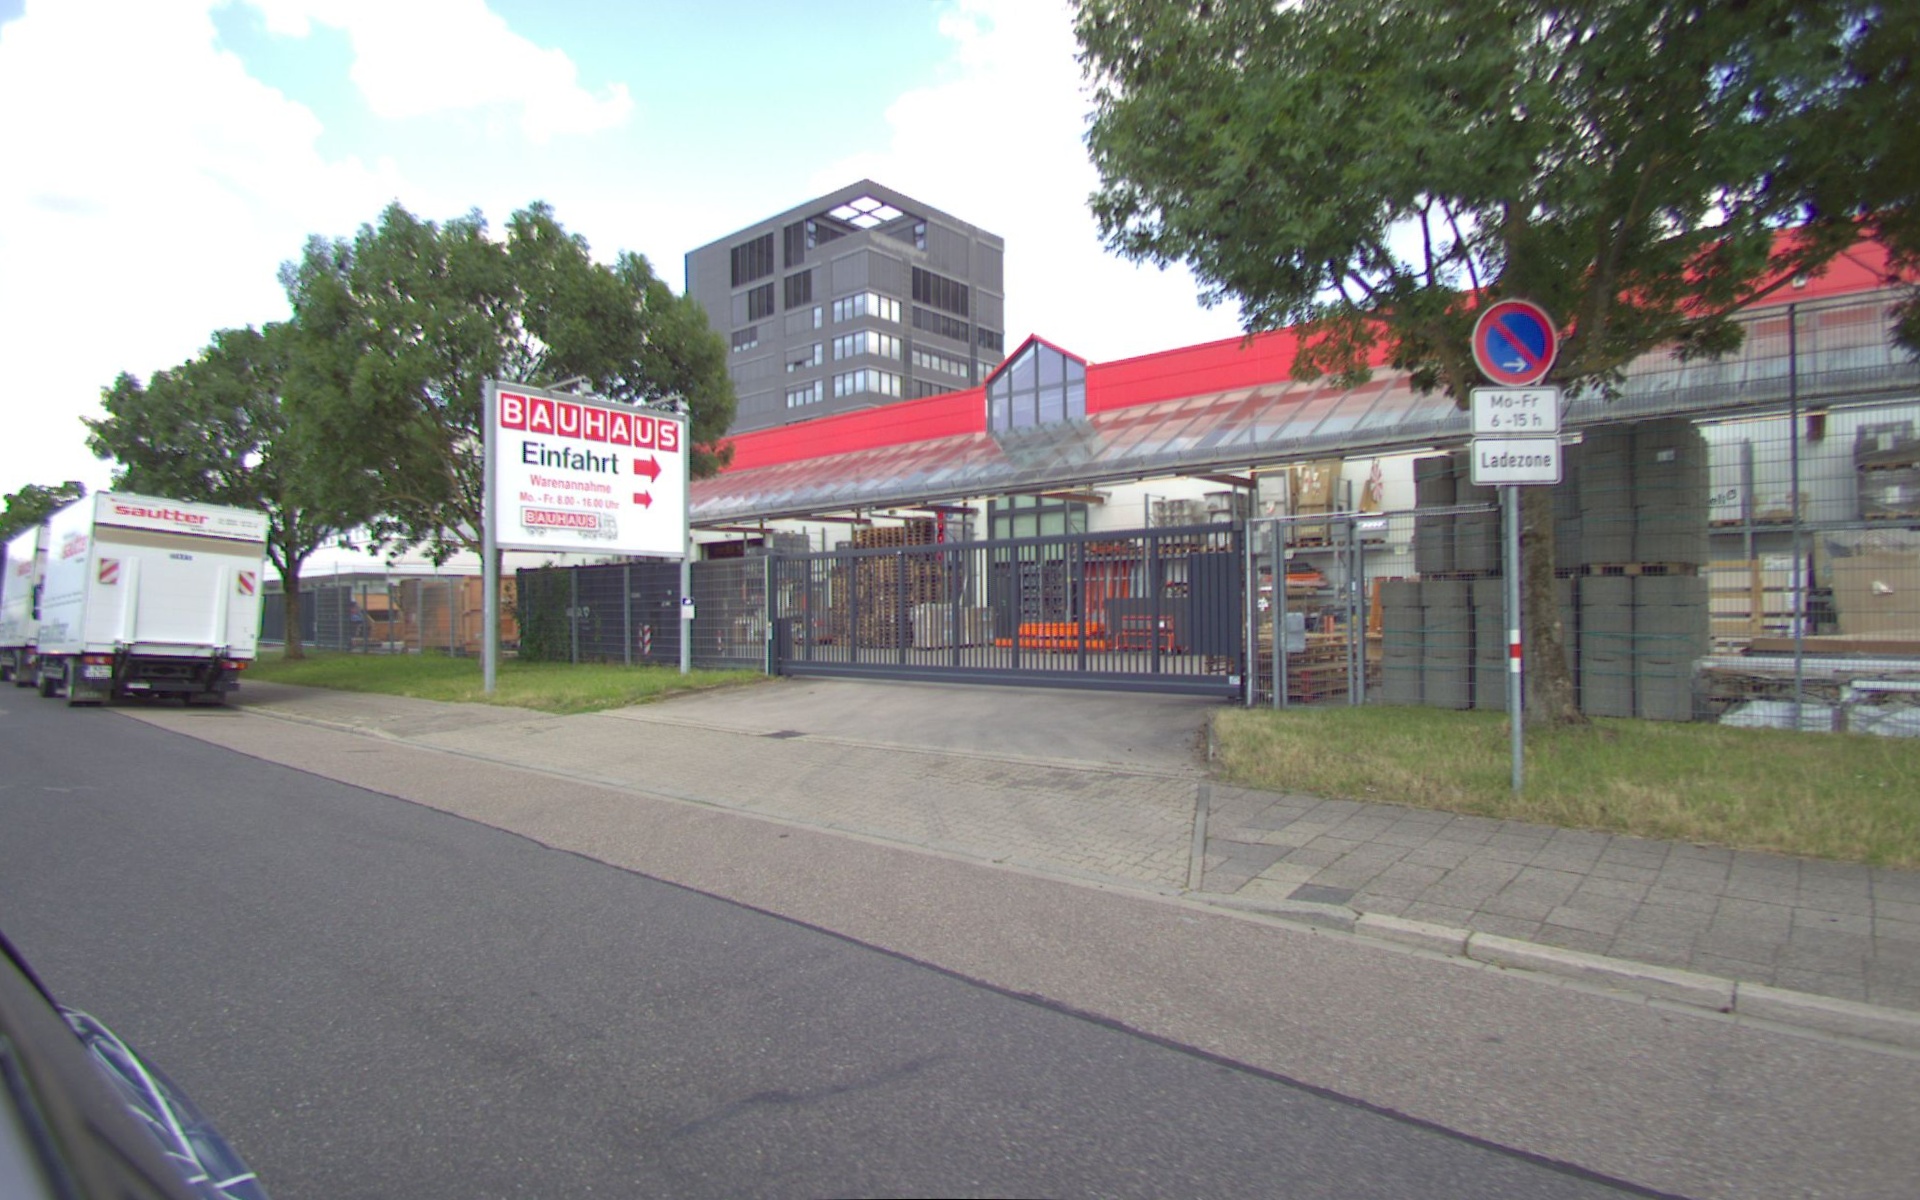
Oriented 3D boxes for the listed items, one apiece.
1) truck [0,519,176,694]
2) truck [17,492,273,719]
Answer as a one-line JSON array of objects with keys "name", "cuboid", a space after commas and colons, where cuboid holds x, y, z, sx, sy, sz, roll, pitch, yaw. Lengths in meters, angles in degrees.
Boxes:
[{"name": "truck", "cuboid": [-22.415, 0.238, 25.614, 7.168, 3.838, 2.719, -2, -3, 41]}, {"name": "truck", "cuboid": [-16.352, 0.142, 20.099, 7.169, 3.751, 2.719, -1, -2, 41]}]
